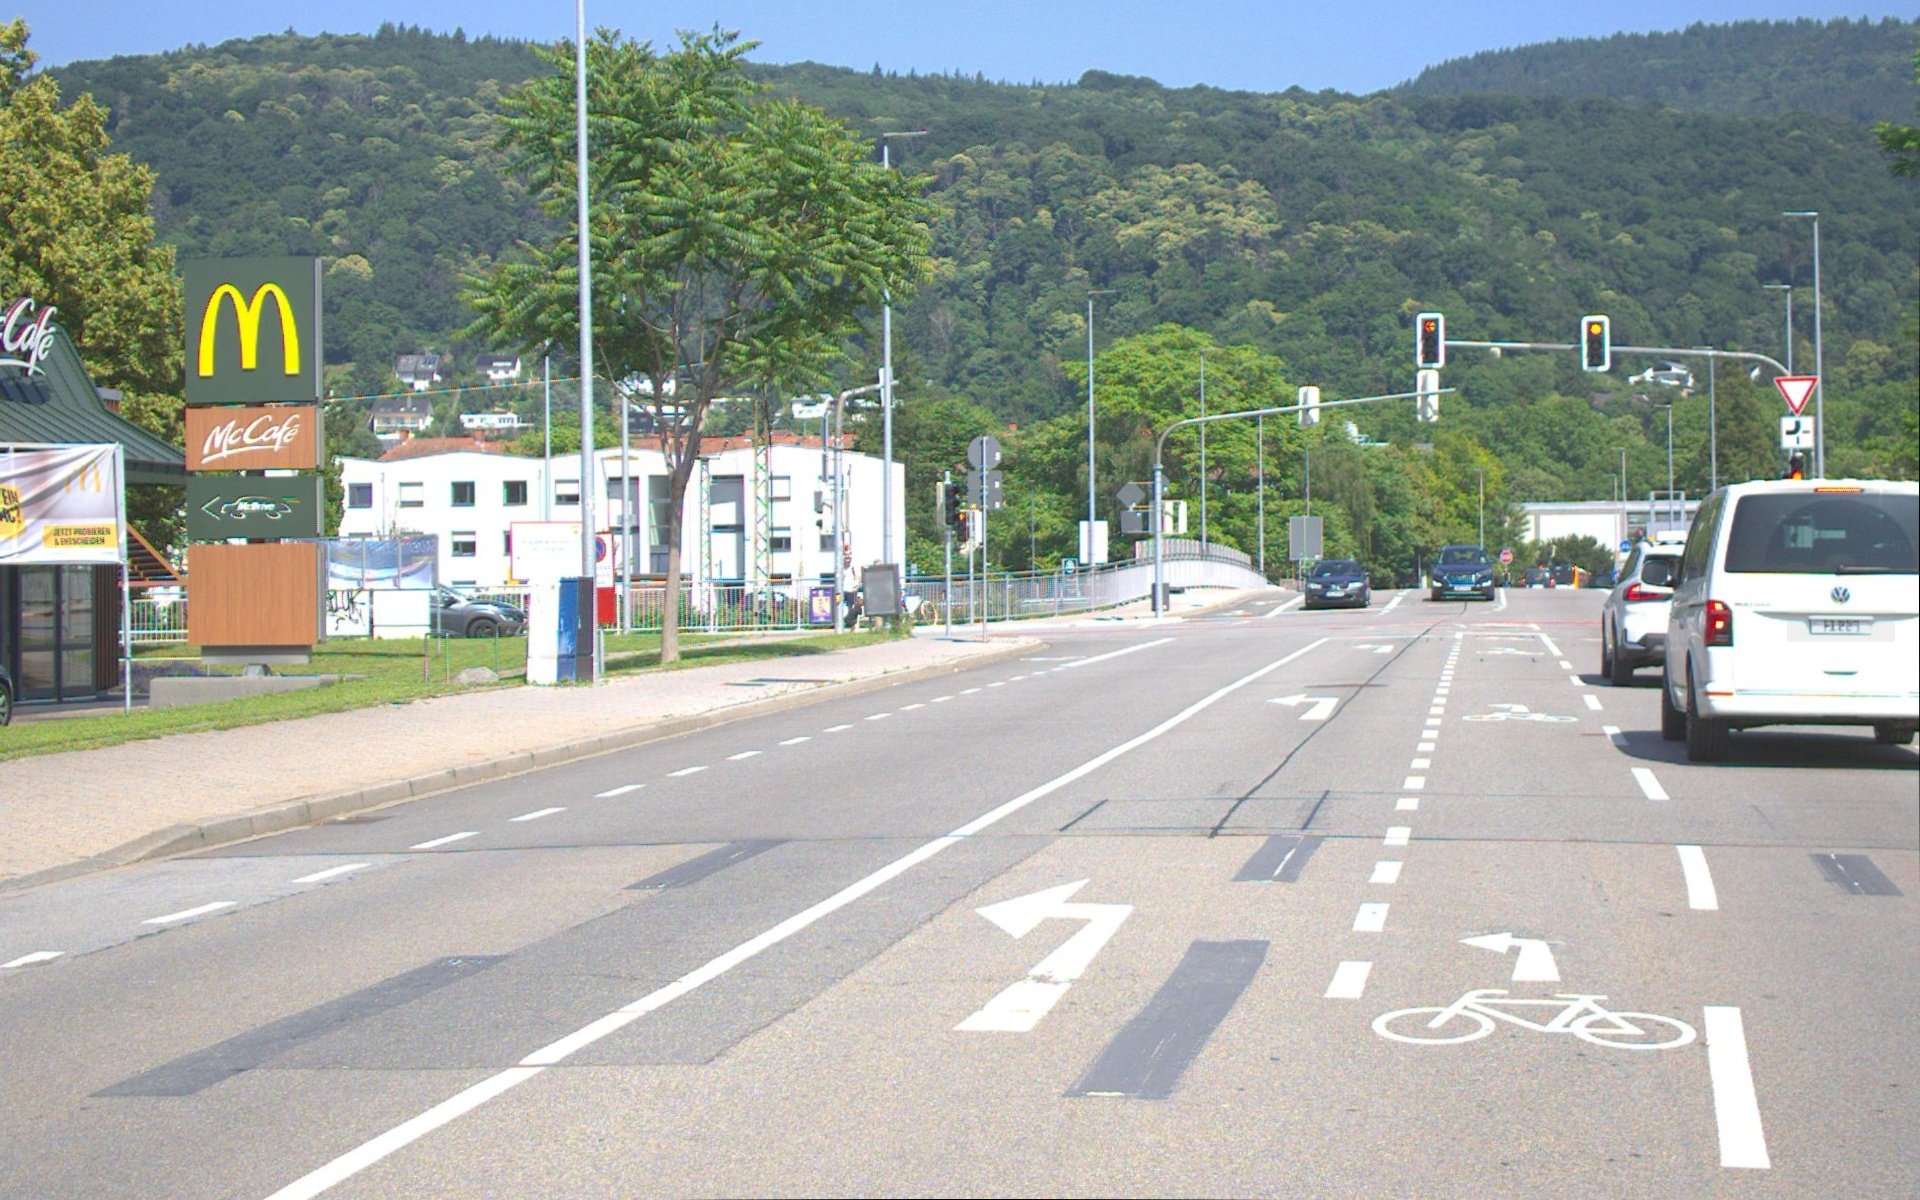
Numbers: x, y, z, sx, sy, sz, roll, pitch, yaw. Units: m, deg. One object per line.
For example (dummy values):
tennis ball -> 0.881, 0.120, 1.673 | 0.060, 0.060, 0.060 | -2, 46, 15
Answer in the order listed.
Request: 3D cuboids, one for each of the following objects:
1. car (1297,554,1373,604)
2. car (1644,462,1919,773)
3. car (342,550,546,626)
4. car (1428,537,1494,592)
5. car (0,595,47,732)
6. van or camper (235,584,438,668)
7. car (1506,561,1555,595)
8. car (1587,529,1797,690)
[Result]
car -> 10.905, -0.612, 99.642 | 1.994, 1.365, 4.325 | -1, 1, 9
car -> 6.132, 0.066, 25.089 | 1.935, 2.052, 4.543 | 1, 1, 8
car -> -11.338, -0.278, 75.756 | 4.314, 1.587, 2.000 | -1, 1, -6
car -> 15.043, -1.090, 103.111 | 1.850, 1.583, 3.999 | -1, 1, 9
car -> -11.280, 0.668, 35.440 | 1.994, 1.411, 4.127 | 2, 1, 11
van or camper -> -12.735, 0.527, 70.354 | 3.986, 1.568, 2.001 | 1, 1, -10
car -> 27.625, -1.081, 166.585 | 1.994, 1.525, 4.043 | 2, 1, 5
car -> 8.242, 0.066, 39.057 | 1.935, 1.681, 4.543 | 1, 1, 8
